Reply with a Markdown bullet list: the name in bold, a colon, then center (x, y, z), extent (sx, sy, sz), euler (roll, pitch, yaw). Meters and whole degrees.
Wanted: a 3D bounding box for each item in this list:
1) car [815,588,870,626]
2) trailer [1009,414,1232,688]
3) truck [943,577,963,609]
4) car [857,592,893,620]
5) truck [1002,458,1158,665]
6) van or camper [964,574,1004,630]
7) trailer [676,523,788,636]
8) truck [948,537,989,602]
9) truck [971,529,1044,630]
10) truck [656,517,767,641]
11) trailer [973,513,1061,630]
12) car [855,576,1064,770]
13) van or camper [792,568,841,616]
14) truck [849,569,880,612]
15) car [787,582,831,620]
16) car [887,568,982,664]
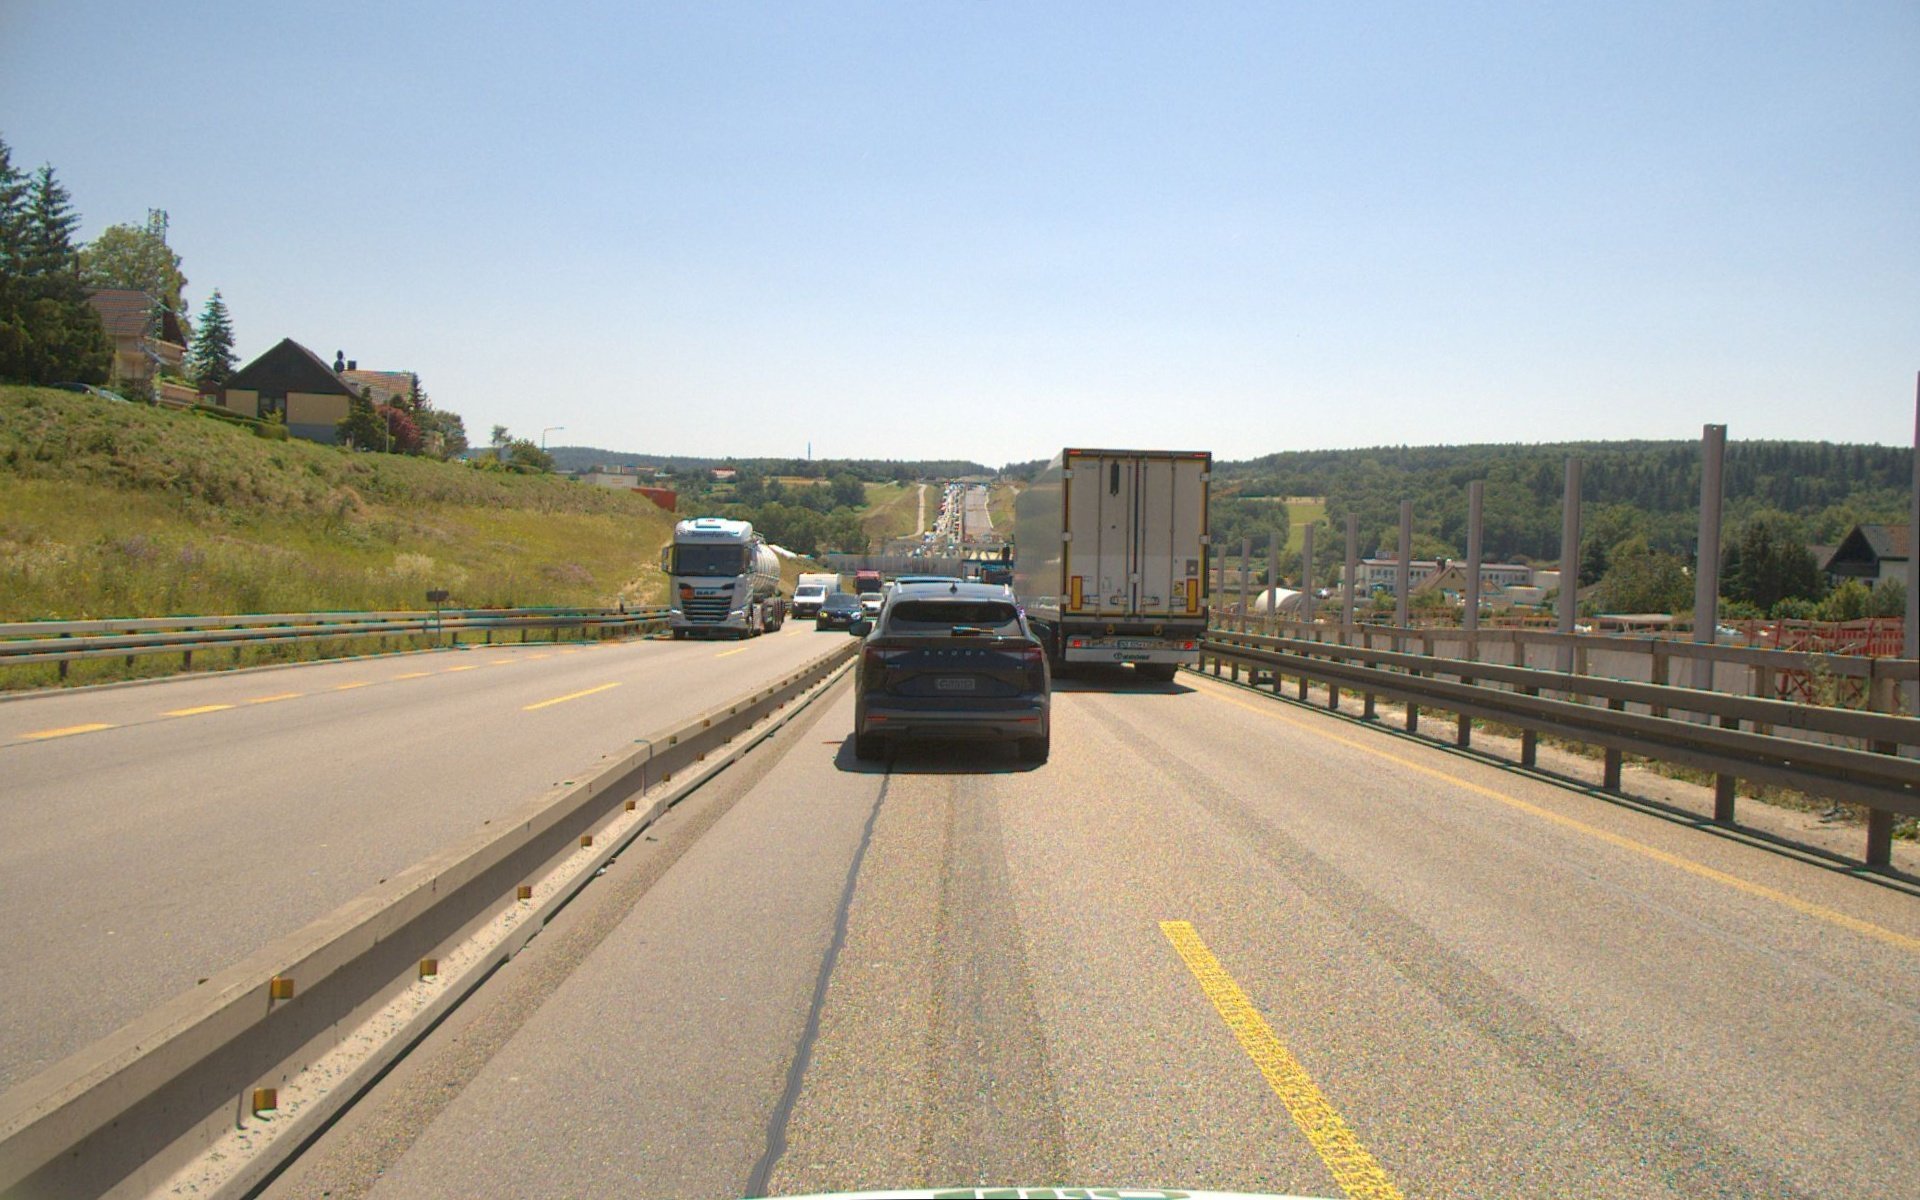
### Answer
- **car**: center (-4.599, 0.261, 65.262), extent (1.856, 1.439, 4.679), euler (0, 0, 0)
- **trailer**: center (2.920, -0.885, 34.611), extent (3.116, 4.592, 13.106), euler (1, 0, -1)
- **truck**: center (-1.016, -0.921, 231.691), extent (2.586, 4.267, 9.281), euler (1, -1, -1)
- **car**: center (-4.780, 0.340, 93.389), extent (1.873, 1.506, 4.635), euler (1, 0, -1)
- **truck**: center (2.789, -0.891, 41.082), extent (3.116, 4.592, 8.164), euler (1, 0, -1)
- **van or camper**: center (1.475, 0.179, 101.681), extent (2.339, 3.338, 6.469), euler (1, -1, 1)
- **trailer**: center (-8.078, -0.683, 60.048), extent (2.661, 3.657, 11.791), euler (1, 0, -1)
- **truck**: center (0.569, -2.275, 127.788), extent (2.794, 4.543, 11.913), euler (1, -1, -1)
- **truck**: center (2.226, -0.871, 80.513), extent (3.116, 4.592, 8.163), euler (1, -1, -1)
- **truck**: center (-7.952, -0.655, 53.567), extent (2.723, 3.737, 6.275), euler (1, 0, -1)
- **trailer**: center (2.326, -1.011, 73.366), extent (3.116, 4.592, 14.962), euler (1, -1, -1)
- **car**: center (-0.011, 0.639, 16.153), extent (1.765, 1.635, 3.999), euler (1, 0, 0)
- **van or camper**: center (-8.482, -0.474, 98.299), extent (2.309, 2.723, 7.856), euler (1, 0, -1)
- **truck**: center (-10.056, -0.889, 174.585), extent (2.794, 4.212, 11.913), euler (1, -1, -1)
- **car**: center (-8.330, 0.057, 91.691), extent (1.953, 2.005, 5.342), euler (1, 0, -1)
- **car**: center (-0.576, 0.382, 36.638), extent (1.953, 1.959, 4.506), euler (1, -1, -1)
